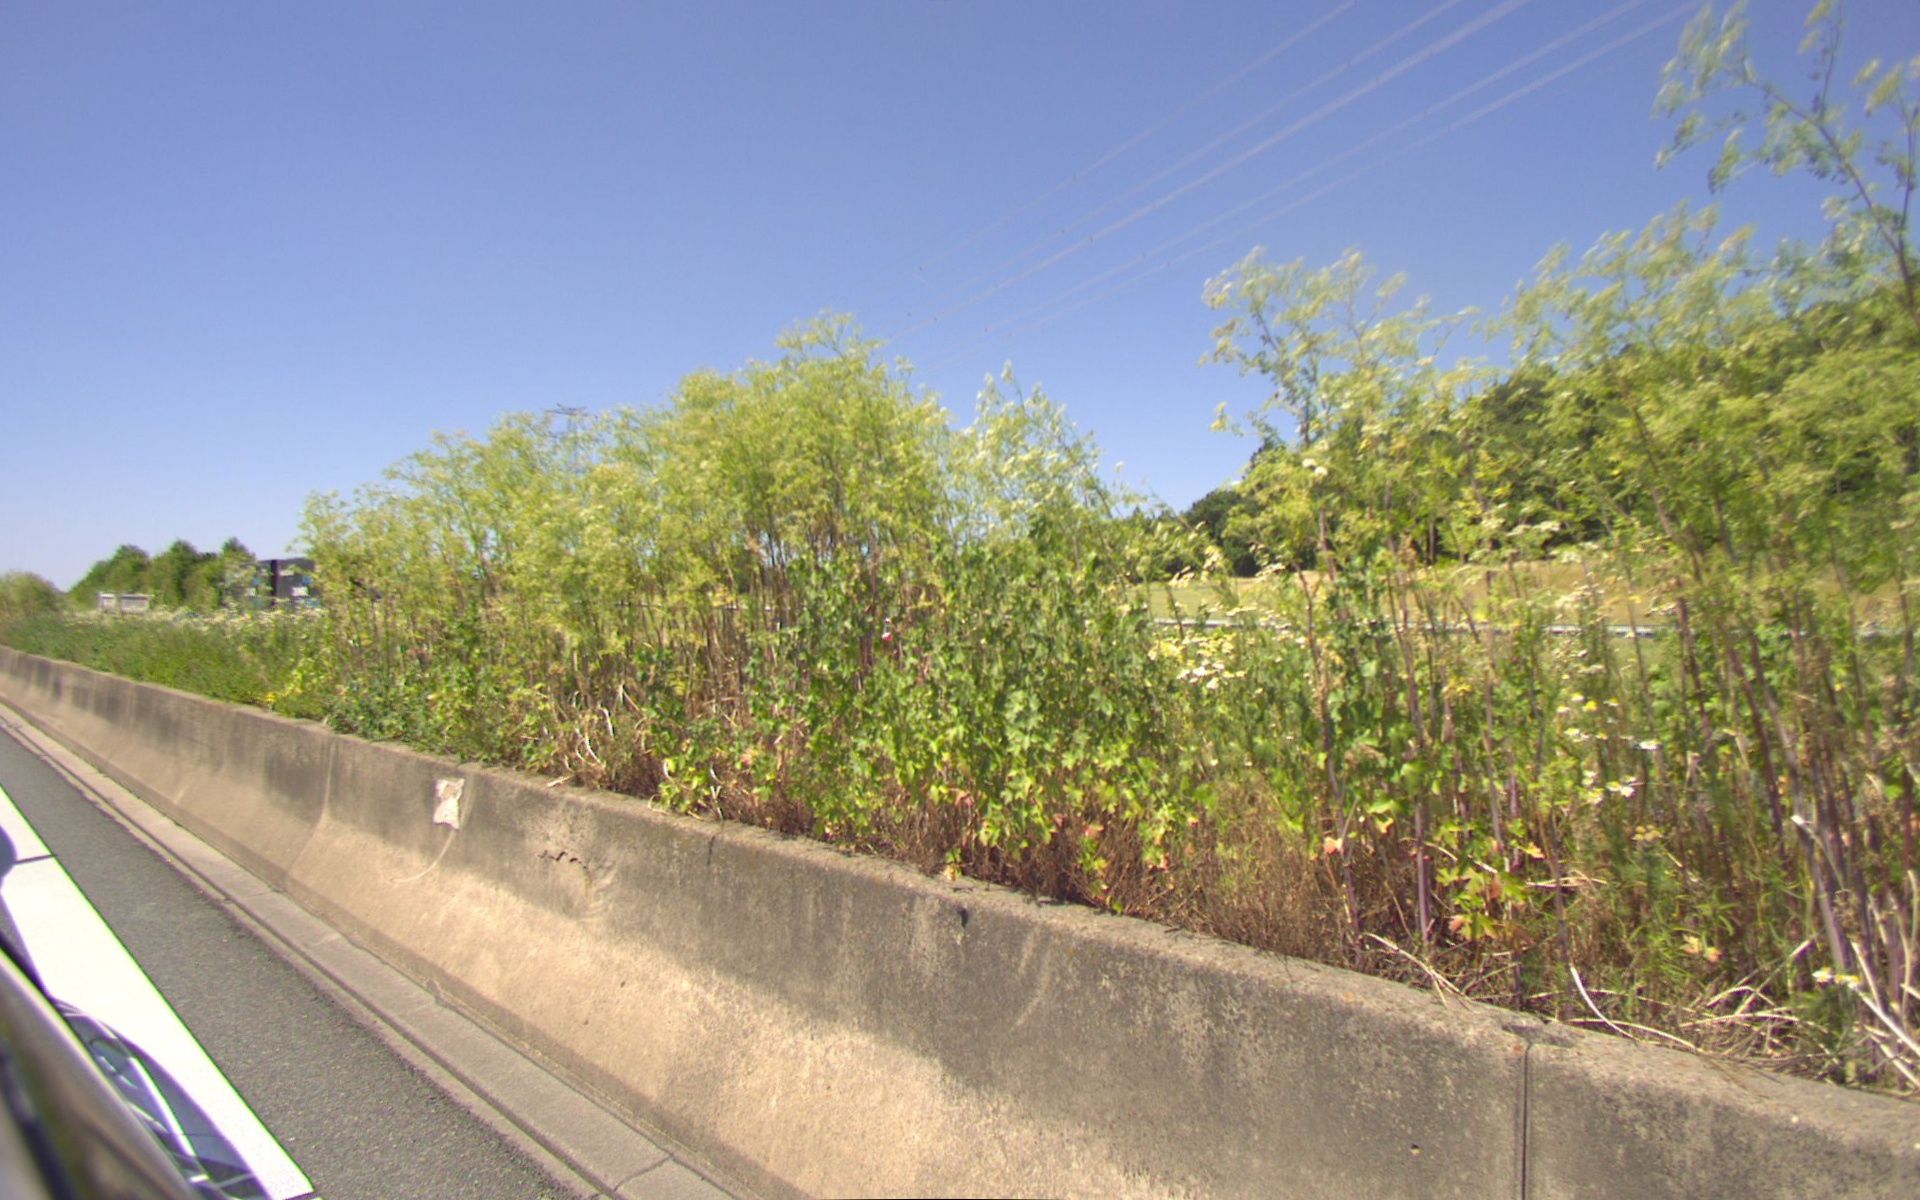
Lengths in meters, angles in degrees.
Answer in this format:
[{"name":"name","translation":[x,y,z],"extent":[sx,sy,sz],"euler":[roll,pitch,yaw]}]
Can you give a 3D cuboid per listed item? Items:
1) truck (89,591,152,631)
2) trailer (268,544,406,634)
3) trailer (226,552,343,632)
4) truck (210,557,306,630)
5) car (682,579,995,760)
[{"name":"truck","translation":[-72.628,0.955,87.422],"extent":[11.820,3.313,2.735],"euler":[-1,-1,43]},{"name":"trailer","translation":[-28.611,-0.406,46.318],"extent":[8.198,3.790,3.149],"euler":[-1,-2,42]},{"name":"trailer","translation":[-34.567,-0.332,51.654],"extent":[7.866,3.787,3.092],"euler":[-1,-1,42]},{"name":"truck","translation":[-37.879,-0.287,54.588],"extent":[5.461,3.738,3.039],"euler":[-1,-1,41]},{"name":"car","translation":[-1.501,0.704,11.686],"extent":[3.686,1.767,1.565],"euler":[-1,-1,42]}]
